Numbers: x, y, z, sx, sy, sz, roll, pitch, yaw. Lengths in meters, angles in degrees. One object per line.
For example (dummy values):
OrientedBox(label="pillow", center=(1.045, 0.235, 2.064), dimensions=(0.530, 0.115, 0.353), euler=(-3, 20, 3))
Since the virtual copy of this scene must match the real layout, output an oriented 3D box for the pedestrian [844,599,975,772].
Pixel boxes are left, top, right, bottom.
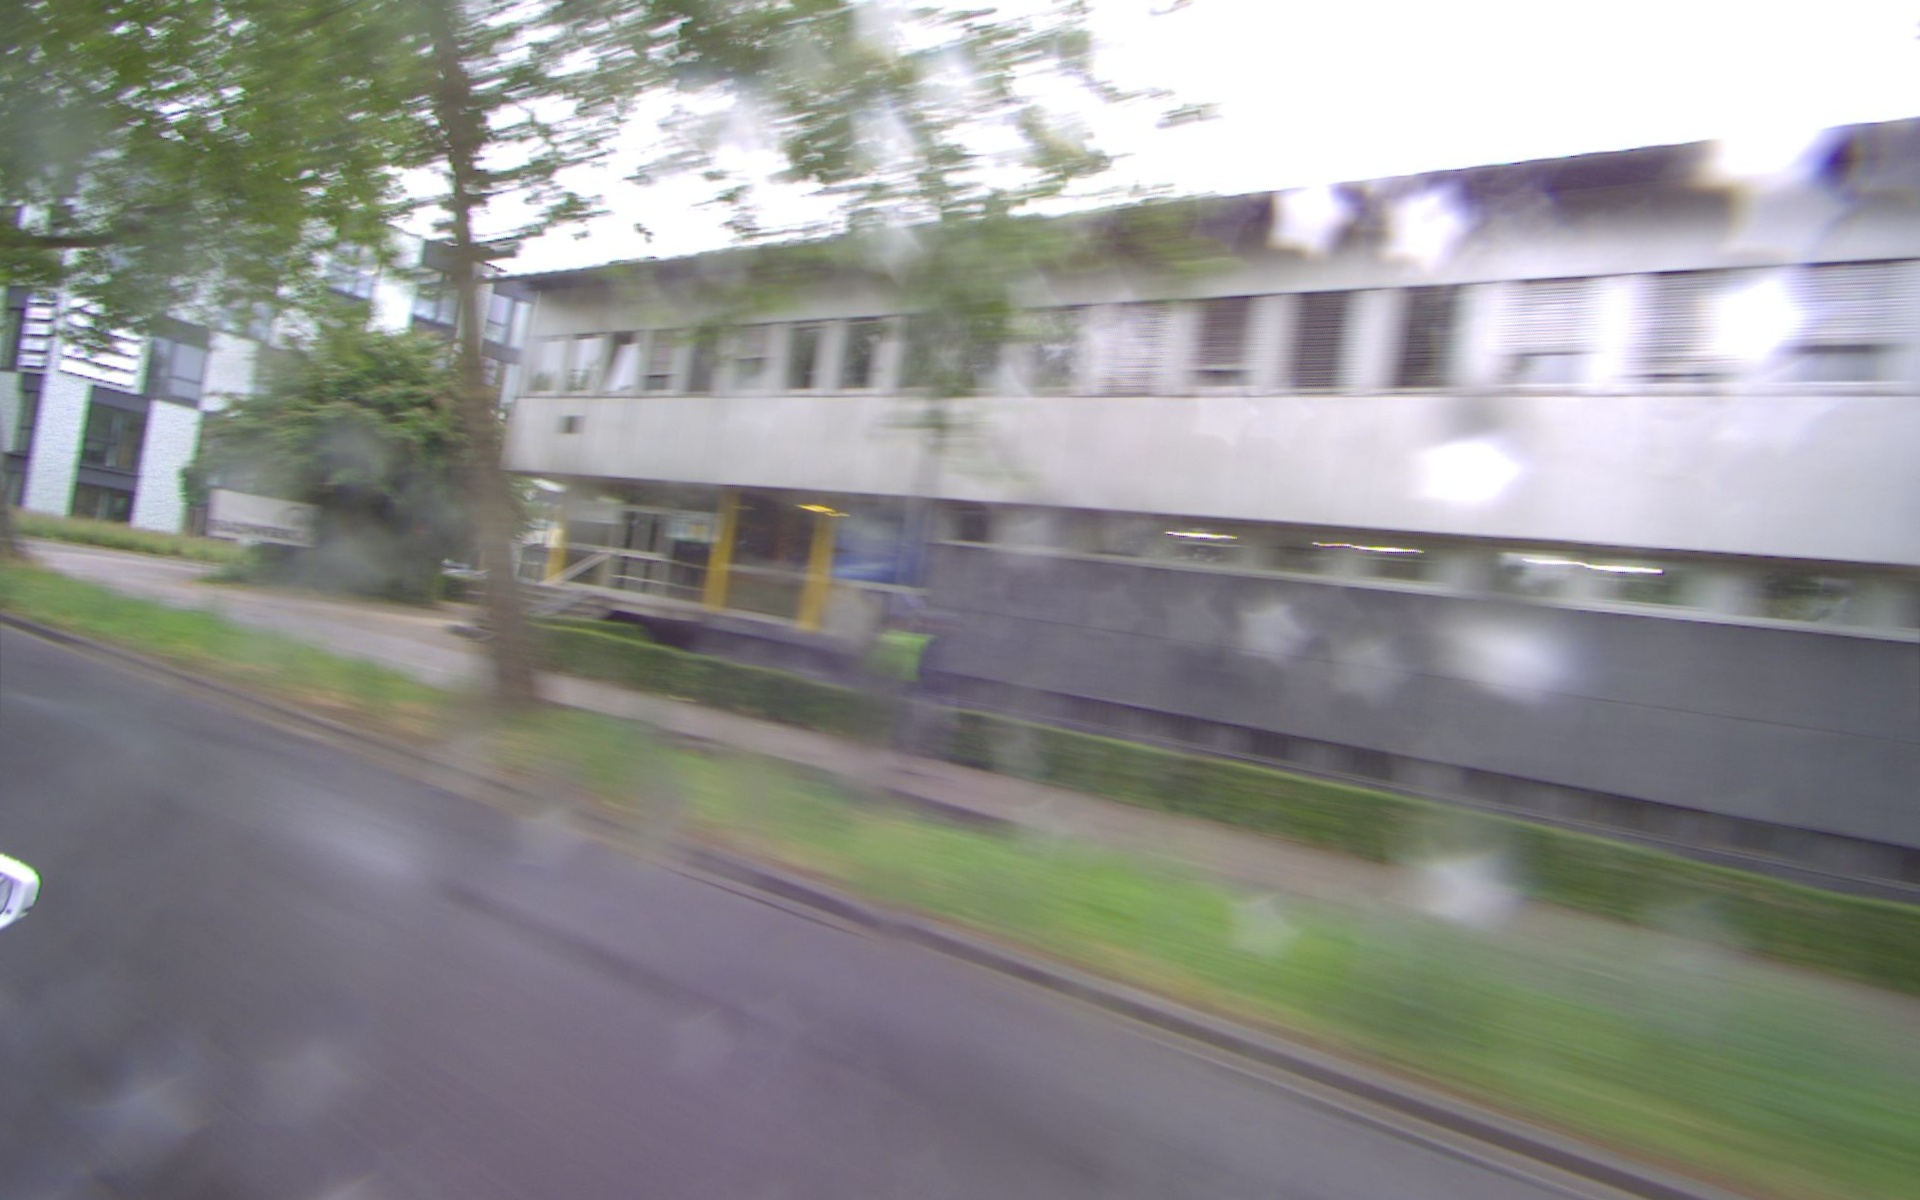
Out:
OrientedBox(label="pedestrian", center=(-0.547, 0.934, 10.998), dimensions=(0.886, 1.715, 0.831), euler=(8, -1, 36))
